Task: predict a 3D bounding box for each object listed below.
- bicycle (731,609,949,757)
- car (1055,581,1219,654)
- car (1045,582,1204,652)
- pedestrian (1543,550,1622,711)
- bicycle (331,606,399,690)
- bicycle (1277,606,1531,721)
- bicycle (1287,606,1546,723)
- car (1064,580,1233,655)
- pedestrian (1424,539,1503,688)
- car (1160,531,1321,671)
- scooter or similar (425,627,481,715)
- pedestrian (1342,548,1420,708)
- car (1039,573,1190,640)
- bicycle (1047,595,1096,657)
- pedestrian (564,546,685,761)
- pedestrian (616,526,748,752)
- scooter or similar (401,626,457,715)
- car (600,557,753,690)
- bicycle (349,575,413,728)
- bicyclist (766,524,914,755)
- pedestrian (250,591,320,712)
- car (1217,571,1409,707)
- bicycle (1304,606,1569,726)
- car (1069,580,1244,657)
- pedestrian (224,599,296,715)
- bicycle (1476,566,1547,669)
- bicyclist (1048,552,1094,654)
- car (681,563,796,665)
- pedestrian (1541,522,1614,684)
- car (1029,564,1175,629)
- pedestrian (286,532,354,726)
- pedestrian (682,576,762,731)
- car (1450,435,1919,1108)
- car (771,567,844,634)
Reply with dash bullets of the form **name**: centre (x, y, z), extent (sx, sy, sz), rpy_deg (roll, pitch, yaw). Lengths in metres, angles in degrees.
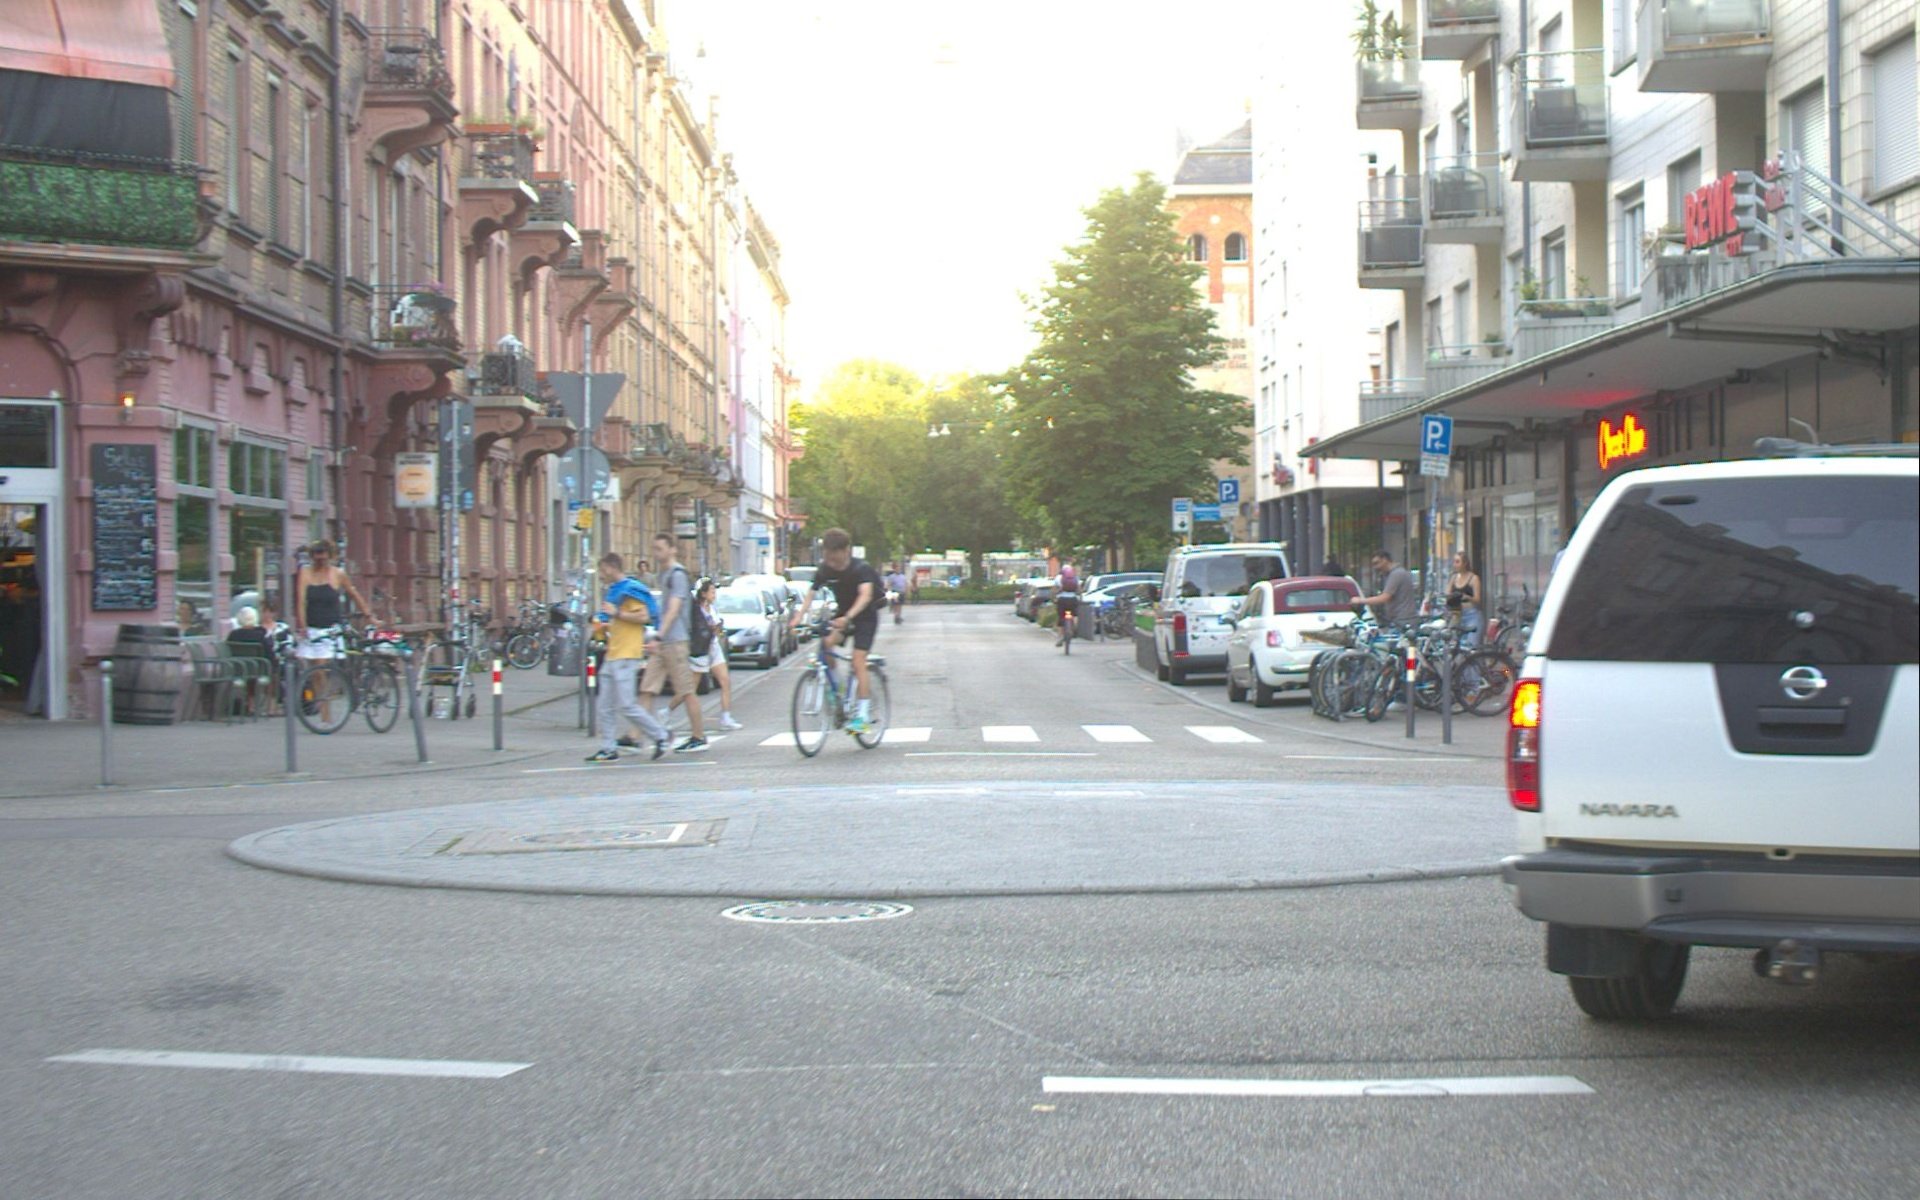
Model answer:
- **bicycle**: centre (-0.969, 0.670, 28.334), extent (0.839, 1.167, 1.932), rpy_deg (1, 0, 32)
- **car**: centre (4.438, 0.440, 86.553), extent (3.987, 1.744, 1.841), rpy_deg (1, 0, -1)
- **car**: centre (4.262, 0.445, 89.465), extent (3.987, 1.744, 1.841), rpy_deg (1, 0, -1)
- **pedestrian**: centre (6.486, 0.316, 35.866), extent (0.720, 1.657, 0.702), rpy_deg (1, 0, 5)
- **bicycle**: centre (-7.600, 0.601, 43.971), extent (0.387, 1.033, 2.482), rpy_deg (1, 0, 1)
- **bicycle**: centre (4.550, 0.641, 35.298), extent (2.461, 1.035, 0.617), rpy_deg (-3, 0, -5)
- **bicycle**: centre (4.592, 0.640, 34.628), extent (2.461, 1.035, 0.617), rpy_deg (-3, 0, -5)
- **car**: centre (4.574, 0.435, 83.892), extent (3.987, 1.744, 1.841), rpy_deg (1, 0, -1)
- **pedestrian**: centre (5.681, 0.151, 38.803), extent (0.719, 1.657, 0.703), rpy_deg (1, 0, -5)
- **car**: centre (4.058, 0.019, 50.320), extent (1.942, 1.927, 4.000), rpy_deg (1, 0, -1)
- **scooter or similar**: centre (-5.470, 0.758, 37.055), extent (0.233, 0.926, 1.266), rpy_deg (1, 0, -25)
- **pedestrian**: centre (4.430, 0.297, 36.214), extent (0.720, 1.657, 0.702), rpy_deg (1, 0, 0)
- **car**: centre (4.199, 0.167, 93.819), extent (3.987, 1.744, 1.841), rpy_deg (1, 0, -1)
- **bicycle**: centre (2.144, 0.495, 66.439), extent (0.838, 1.167, 1.936), rpy_deg (1, 0, -1)
- **pedestrian**: centre (-2.748, 0.436, 28.110), extent (0.903, 1.730, 0.616), rpy_deg (1, 0, -11)
- **pedestrian**: centre (-2.356, 0.331, 29.119), extent (0.903, 1.878, 0.616), rpy_deg (1, 0, -31)
- **scooter or similar**: centre (-5.706, 0.754, 36.941), extent (0.233, 0.926, 1.266), rpy_deg (1, 0, -25)
- **car**: centre (-3.897, 0.318, 47.862), extent (1.834, 1.744, 4.000), rpy_deg (1, 0, -1)
- **bicycle**: centre (-5.618, 0.488, 33.424), extent (0.424, 1.438, 1.905), rpy_deg (1, 0, -4)
- **bicyclist**: centre (-0.985, 0.319, 28.326), extent (0.839, 1.870, 0.877), rpy_deg (1, 0, 32)
- **pedestrian**: centre (-7.250, 0.547, 36.947), extent (0.648, 1.281, 0.540), rpy_deg (1, 0, -4)
- **car**: centre (4.212, 0.453, 41.539), extent (1.834, 1.536, 4.000), rpy_deg (1, 0, -1)
- **bicycle**: centre (4.697, 0.648, 33.948), extent (2.461, 1.035, 0.617), rpy_deg (-3, 0, -4)
- **car**: centre (4.640, 0.430, 81.653), extent (3.987, 1.744, 1.841), rpy_deg (1, 0, -1)
- **pedestrian**: centre (-7.276, 0.591, 35.761), extent (0.648, 1.187, 0.540), rpy_deg (1, 0, -4)
- **bicycle**: centre (7.754, 0.243, 48.376), extent (0.555, 1.403, 2.095), rpy_deg (1, 0, -2)
- **bicyclist**: centre (2.142, 0.062, 66.457), extent (0.838, 1.937, 0.785), rpy_deg (1, 0, 0)
- **car**: centre (-3.954, 0.253, 61.918), extent (1.834, 1.744, 4.163), rpy_deg (1, 0, -1)
- **pedestrian**: centre (7.347, 0.034, 40.930), extent (0.720, 1.900, 0.702), rpy_deg (1, 0, 0)
- **car**: centre (3.977, -0.099, 96.605), extent (3.987, 1.744, 1.841), rpy_deg (1, 0, -1)
- **pedestrian**: centre (-6.142, 0.278, 32.965), extent (0.503, 1.834, 0.573), rpy_deg (1, 0, -23)
- **pedestrian**: centre (-2.533, 0.567, 36.600), extent (0.798, 1.615, 0.944), rpy_deg (1, 0, -2)
- **car**: centre (3.384, 0.398, 11.586), extent (1.941, 1.804, 4.994), rpy_deg (1, 2, 27)
- **car**: centre (-4.105, 0.026, 93.213), extent (1.834, 1.744, 4.000), rpy_deg (1, 0, -1)
